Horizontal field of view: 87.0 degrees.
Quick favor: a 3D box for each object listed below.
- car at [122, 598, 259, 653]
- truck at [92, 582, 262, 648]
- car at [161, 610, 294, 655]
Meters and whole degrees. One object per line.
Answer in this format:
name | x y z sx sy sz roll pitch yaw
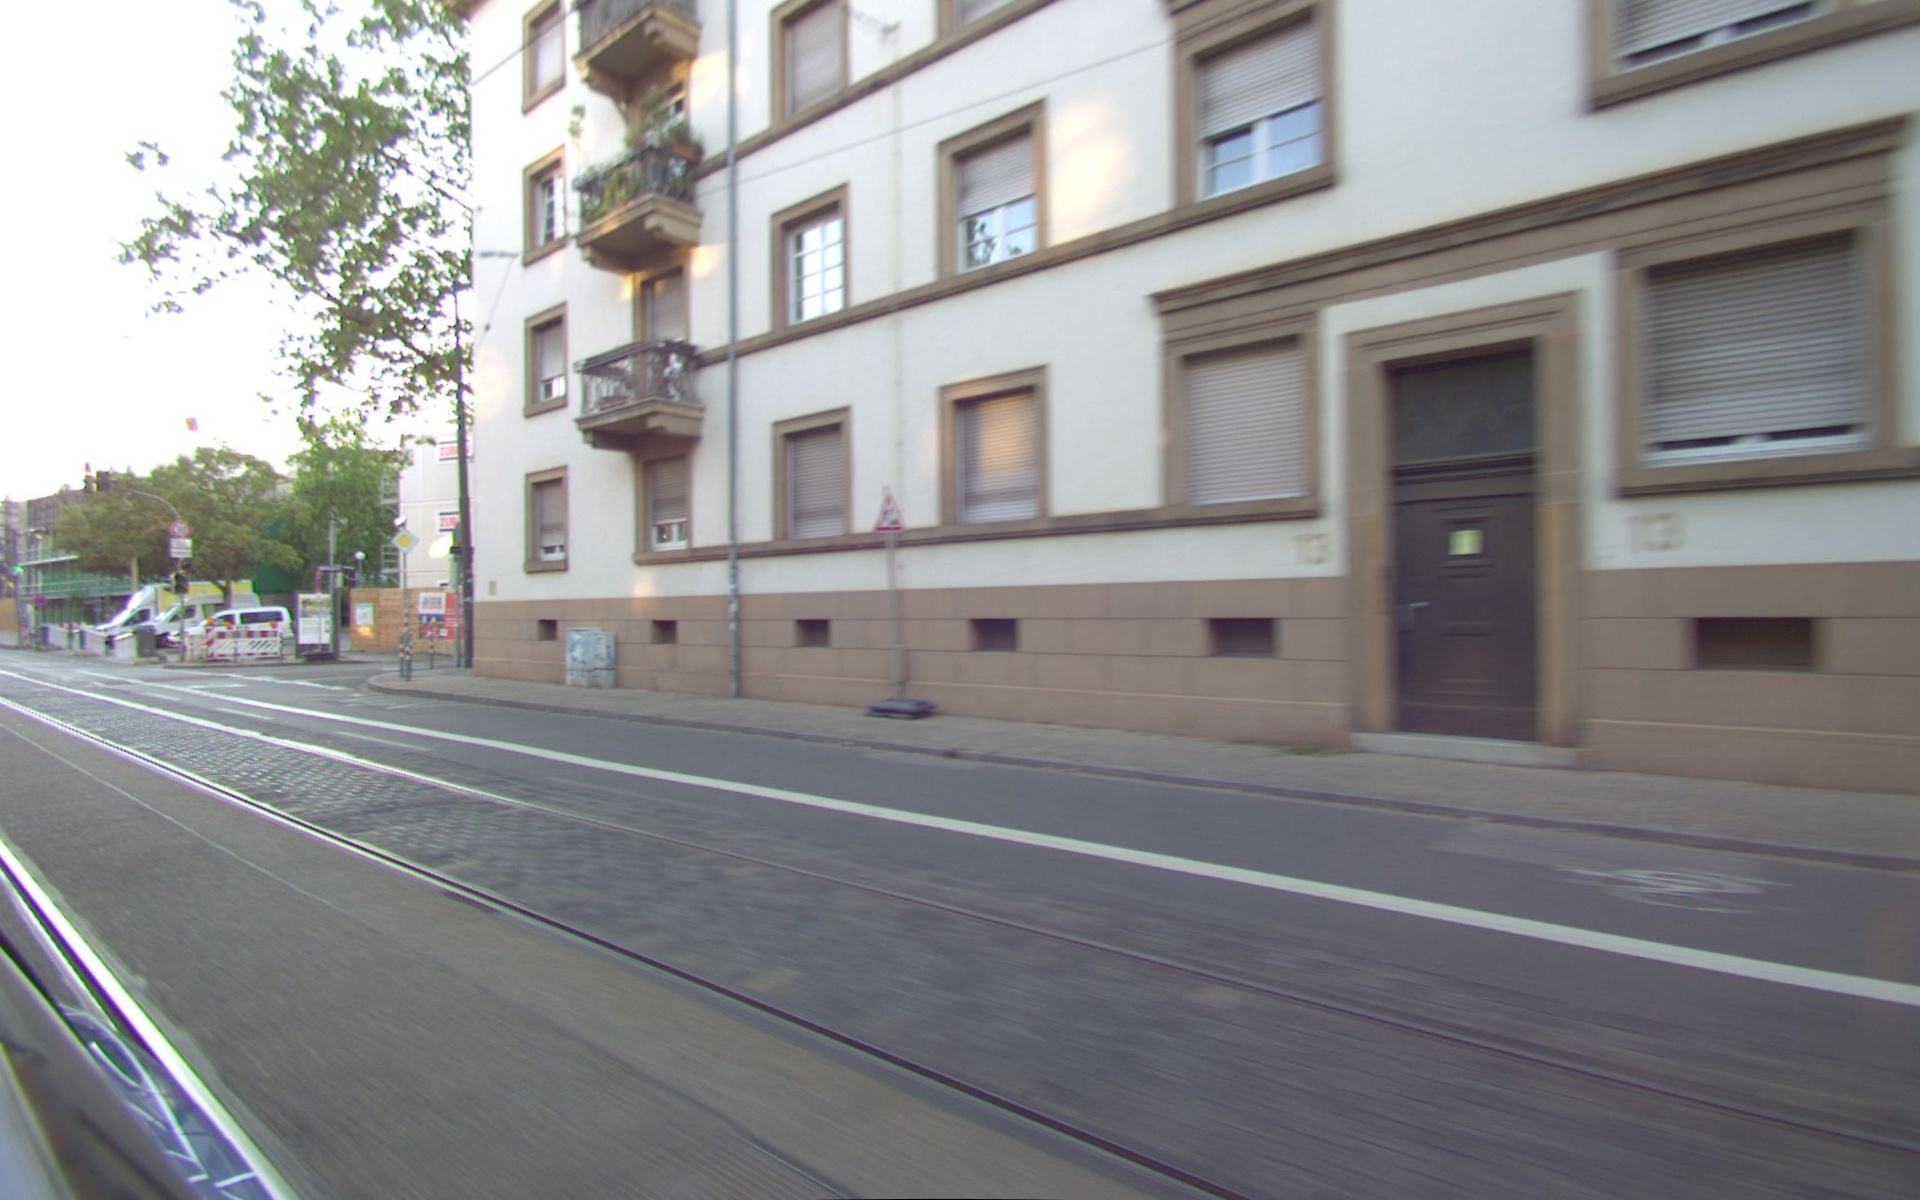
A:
car | -39.023 1.253 51.443 2.226 2.617 5.170 -2 -1 37
truck | -43.090 0.778 55.880 2.562 3.454 6.991 -2 -1 37
car | -34.557 1.502 47.859 2.015 1.888 4.781 -2 -1 42
